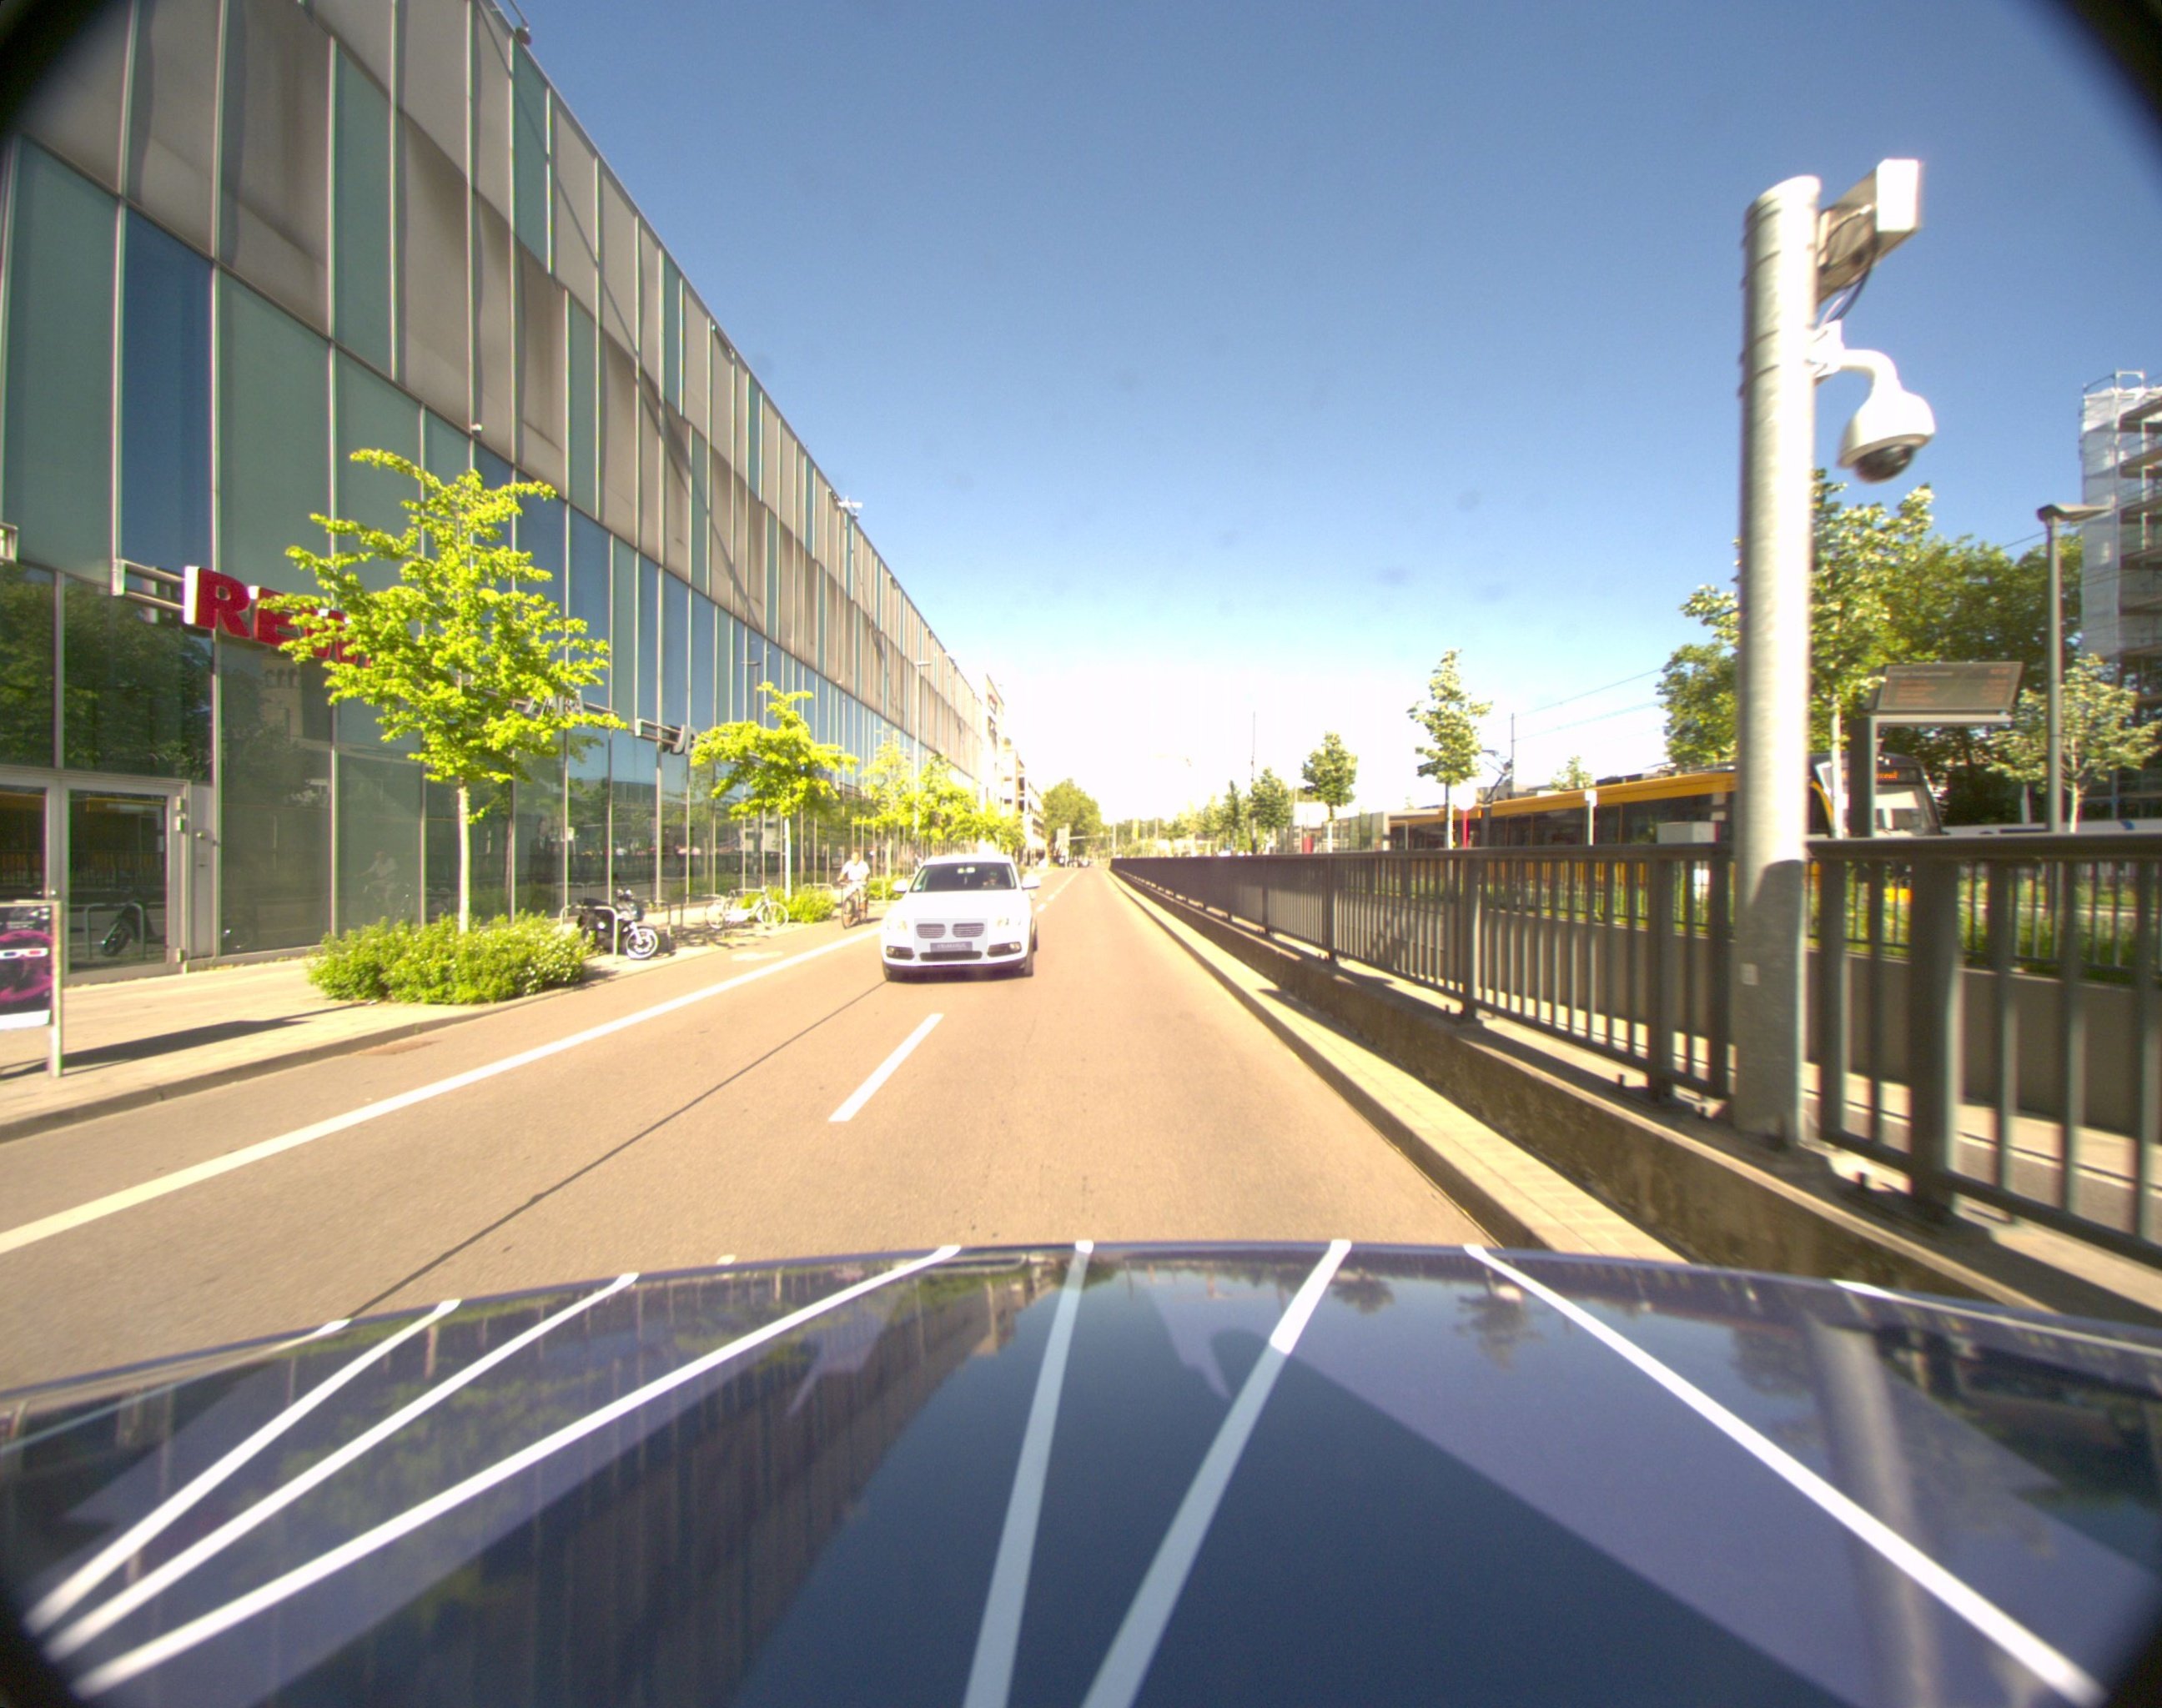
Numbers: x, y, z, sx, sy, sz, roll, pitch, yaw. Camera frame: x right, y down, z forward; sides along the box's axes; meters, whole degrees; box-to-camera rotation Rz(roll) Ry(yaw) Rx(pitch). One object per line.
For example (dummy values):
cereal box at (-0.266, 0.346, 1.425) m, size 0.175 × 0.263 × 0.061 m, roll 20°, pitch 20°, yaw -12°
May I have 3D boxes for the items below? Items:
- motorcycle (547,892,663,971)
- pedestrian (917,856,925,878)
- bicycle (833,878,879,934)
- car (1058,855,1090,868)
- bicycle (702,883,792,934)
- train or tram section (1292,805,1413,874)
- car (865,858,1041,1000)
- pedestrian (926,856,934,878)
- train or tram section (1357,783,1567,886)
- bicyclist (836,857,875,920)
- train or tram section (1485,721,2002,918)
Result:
motorcycle at (-7.660, 1.219, 12.213) m, size 1.876 × 1.076 × 0.645 m, roll 2°, pitch 1°, yaw 25°
pedestrian at (-11.831, 0.963, 56.180) m, size 0.450 × 1.591 × 0.287 m, roll -1°, pitch 0°, yaw 1°
bicycle at (-5.322, 1.199, 18.050) m, size 0.610 × 1.144 × 1.986 m, roll -1°, pitch 1°, yaw -4°
car at (-0.877, 0.926, 93.186) m, size 3.802 × 1.527 × 1.786 m, roll -1°, pitch 0°, yaw -3°
bicycle at (-7.376, 1.200, 16.838) m, size 1.741 × 1.056 × 0.467 m, roll 2°, pitch 0°, yaw -15°
train or tram section at (15.950, -0.781, 46.032) m, size 2.822 × 3.617 × 12.789 m, roll 0°, pitch 0°, yaw 1°
car at (-1.619, 0.899, 10.992) m, size 1.934 × 1.624 × 3.999 m, roll -1°, pitch 0°, yaw -2°
pedestrian at (-11.214, 0.959, 56.410) m, size 0.450 × 1.681 × 0.345 m, roll -1°, pitch 0°, yaw 1°
train or tram section at (15.768, -0.716, 33.210) m, size 2.822 × 3.617 × 12.789 m, roll 0°, pitch 0°, yaw 1°
bicyclist at (-5.333, 0.811, 18.035) m, size 0.755 × 1.454 × 0.587 m, roll -1°, pitch 1°, yaw -4°
train or tram section at (15.618, -0.655, 20.432) m, size 2.822 × 3.617 × 12.789 m, roll 0°, pitch 0°, yaw 1°
